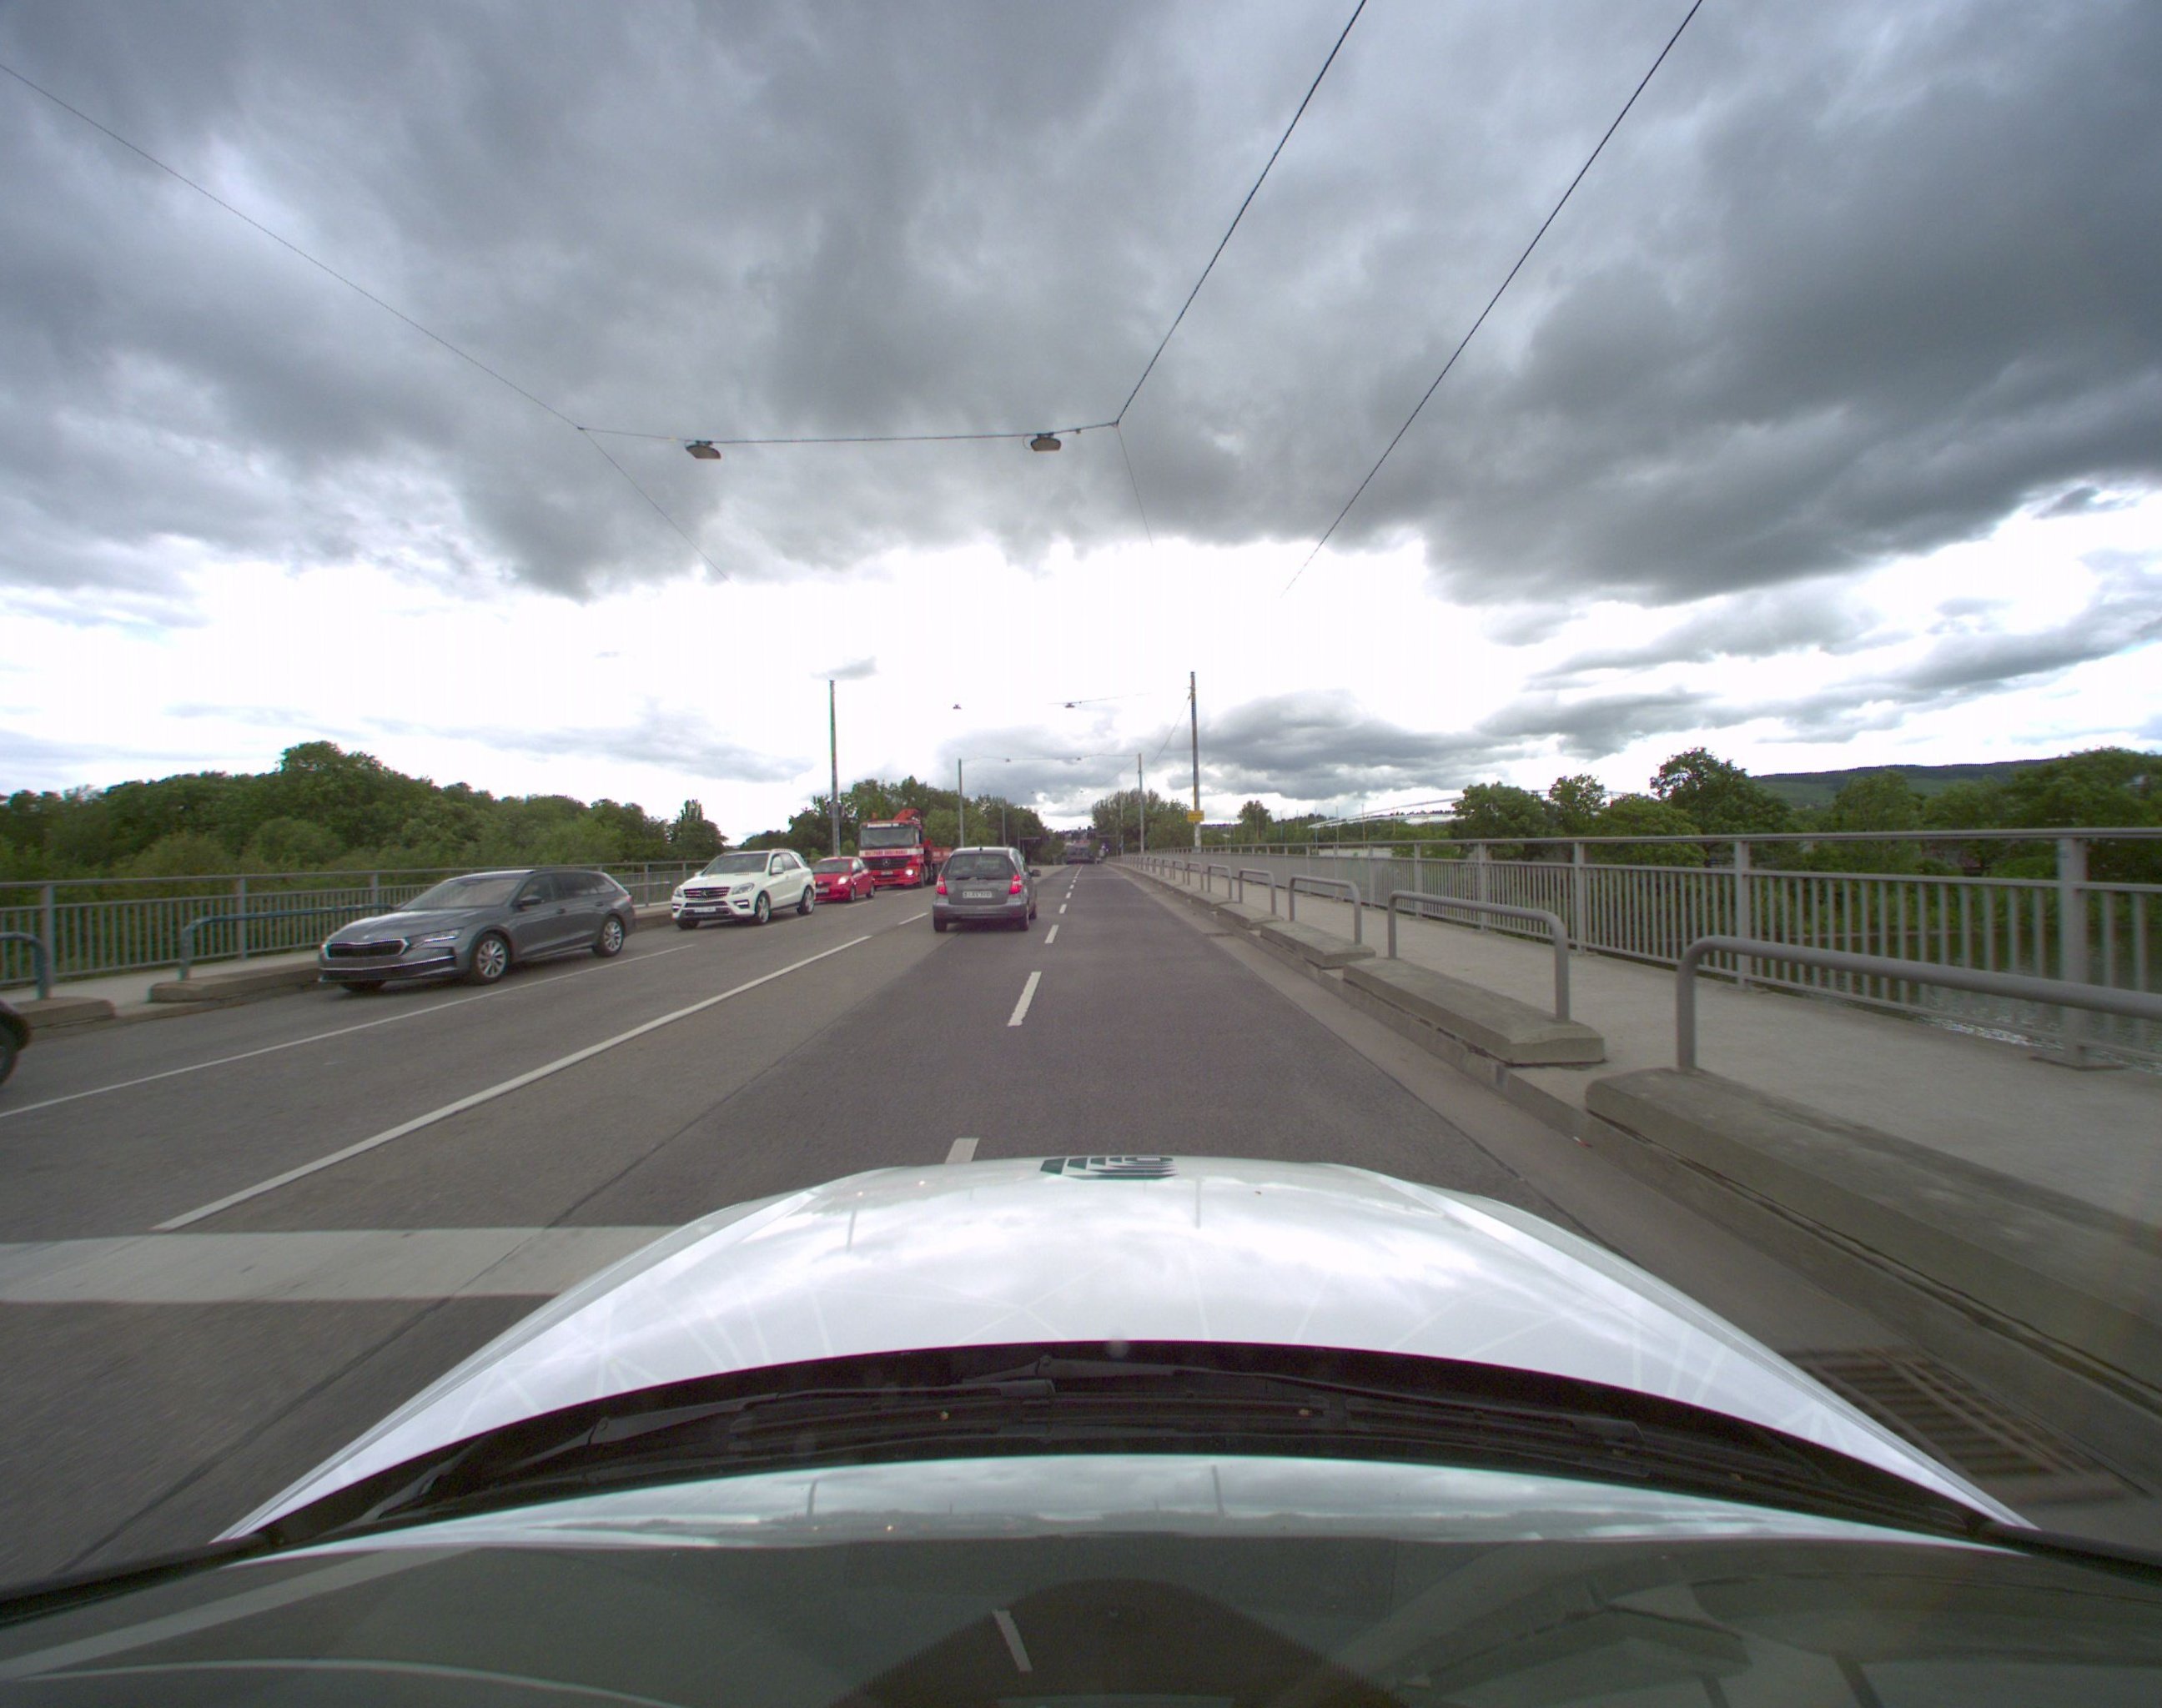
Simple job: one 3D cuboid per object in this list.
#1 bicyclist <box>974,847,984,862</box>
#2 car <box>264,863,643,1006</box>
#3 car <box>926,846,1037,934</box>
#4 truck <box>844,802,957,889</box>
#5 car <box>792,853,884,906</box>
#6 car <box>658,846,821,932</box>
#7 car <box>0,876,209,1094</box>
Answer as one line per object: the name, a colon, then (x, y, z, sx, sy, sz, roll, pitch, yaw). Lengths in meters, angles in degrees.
bicyclist: (-12.444, 0.059, 99.061, 1.130, 1.764, 0.904, -1, -1, -5)
car: (-8.437, 0.955, 11.631, 1.829, 1.504, 4.516, -2, 0, 0)
car: (-1.866, 0.636, 16.382, 1.740, 1.550, 3.871, -1, 0, 0)
truck: (-8.325, -0.366, 39.159, 2.996, 3.565, 9.981, -2, 0, 0)
car: (-8.178, 0.793, 27.780, 1.874, 1.603, 4.015, -2, 0, 0)
car: (-8.137, 0.747, 19.968, 1.874, 1.761, 4.802, -2, 0, 0)
car: (-8.631, 0.989, 5.190, 1.828, 1.504, 3.873, -2, 0, 2)
